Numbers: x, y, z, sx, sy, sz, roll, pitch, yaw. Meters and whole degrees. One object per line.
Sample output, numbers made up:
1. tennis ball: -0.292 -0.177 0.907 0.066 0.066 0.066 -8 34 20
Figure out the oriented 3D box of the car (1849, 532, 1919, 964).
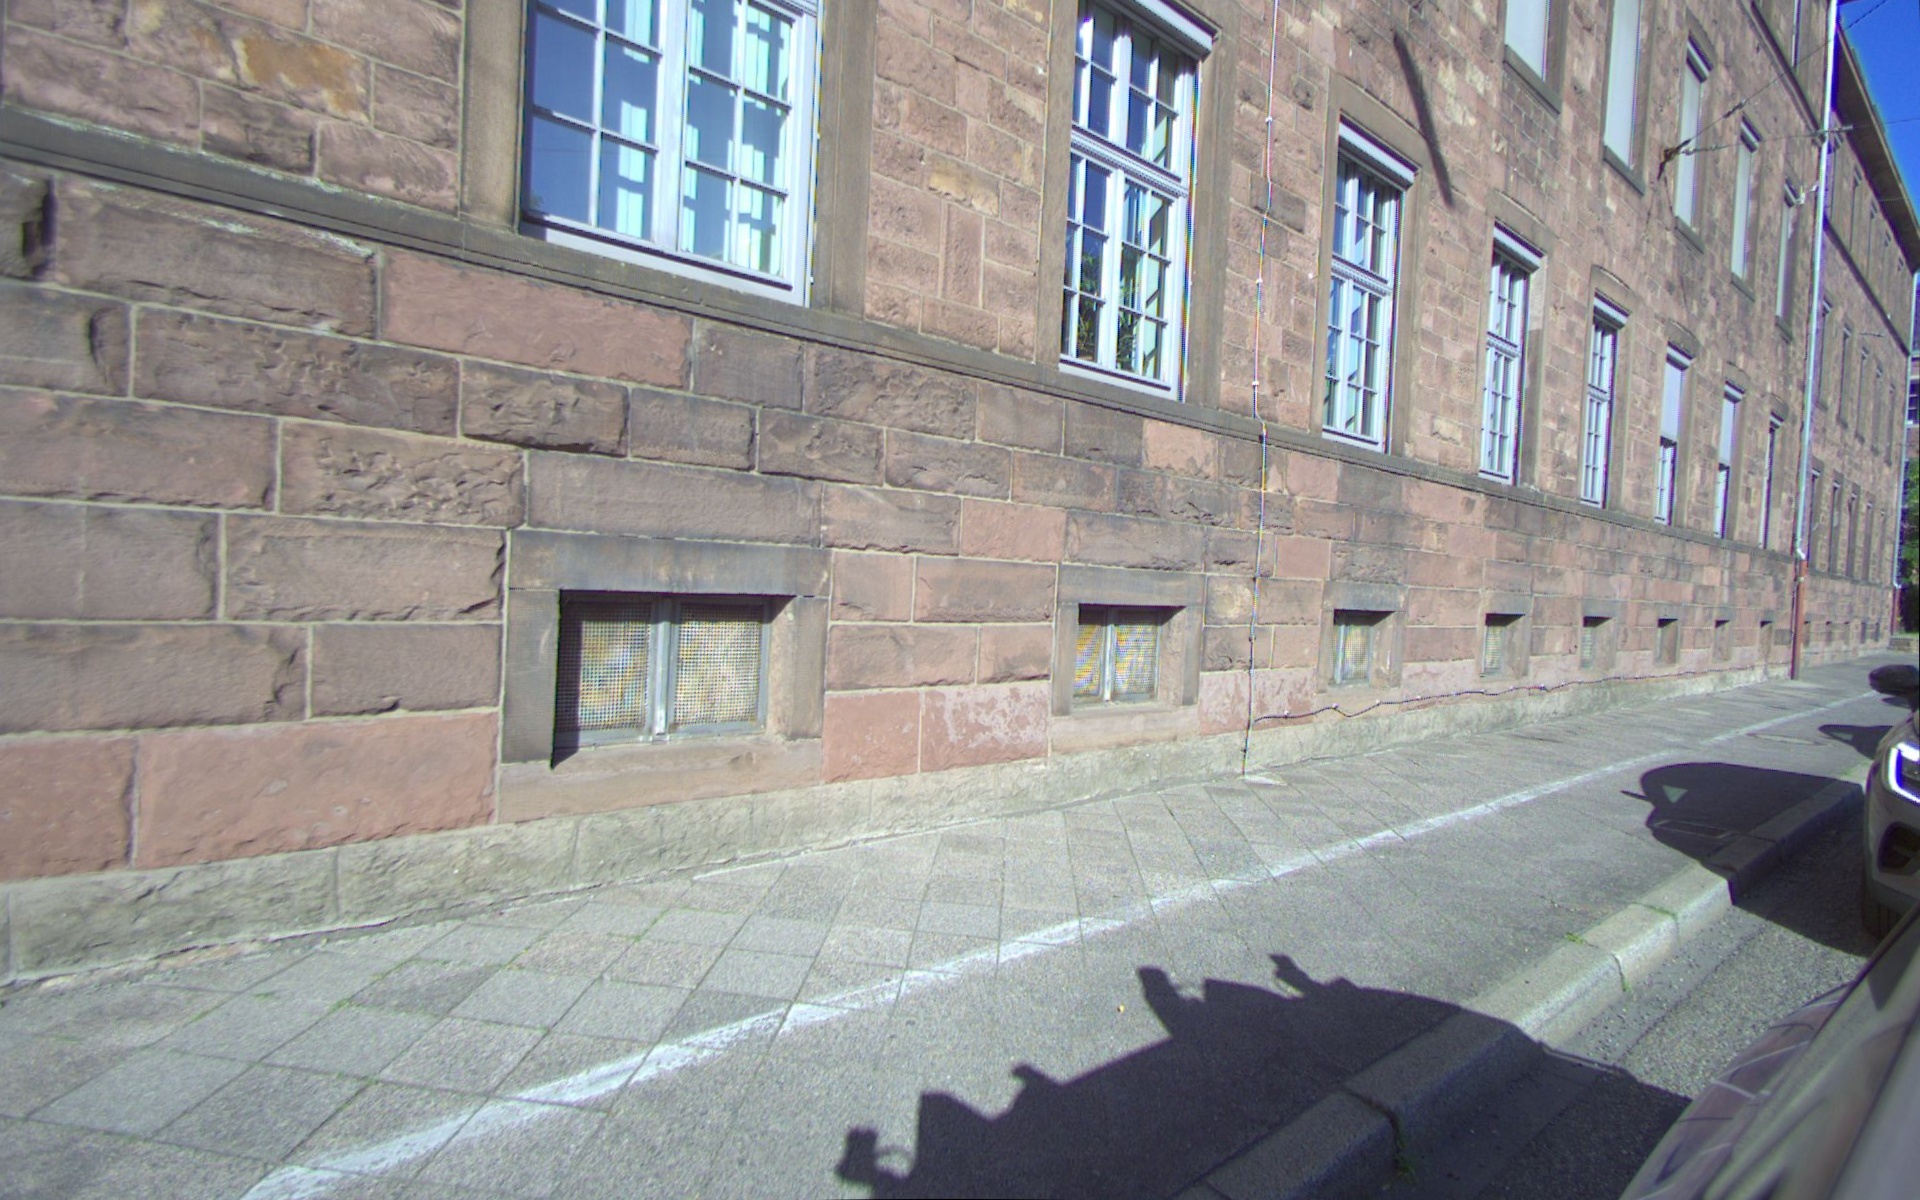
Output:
1. car: 5.455 0.594 4.566 3.735 1.624 1.793 1 1 -43
